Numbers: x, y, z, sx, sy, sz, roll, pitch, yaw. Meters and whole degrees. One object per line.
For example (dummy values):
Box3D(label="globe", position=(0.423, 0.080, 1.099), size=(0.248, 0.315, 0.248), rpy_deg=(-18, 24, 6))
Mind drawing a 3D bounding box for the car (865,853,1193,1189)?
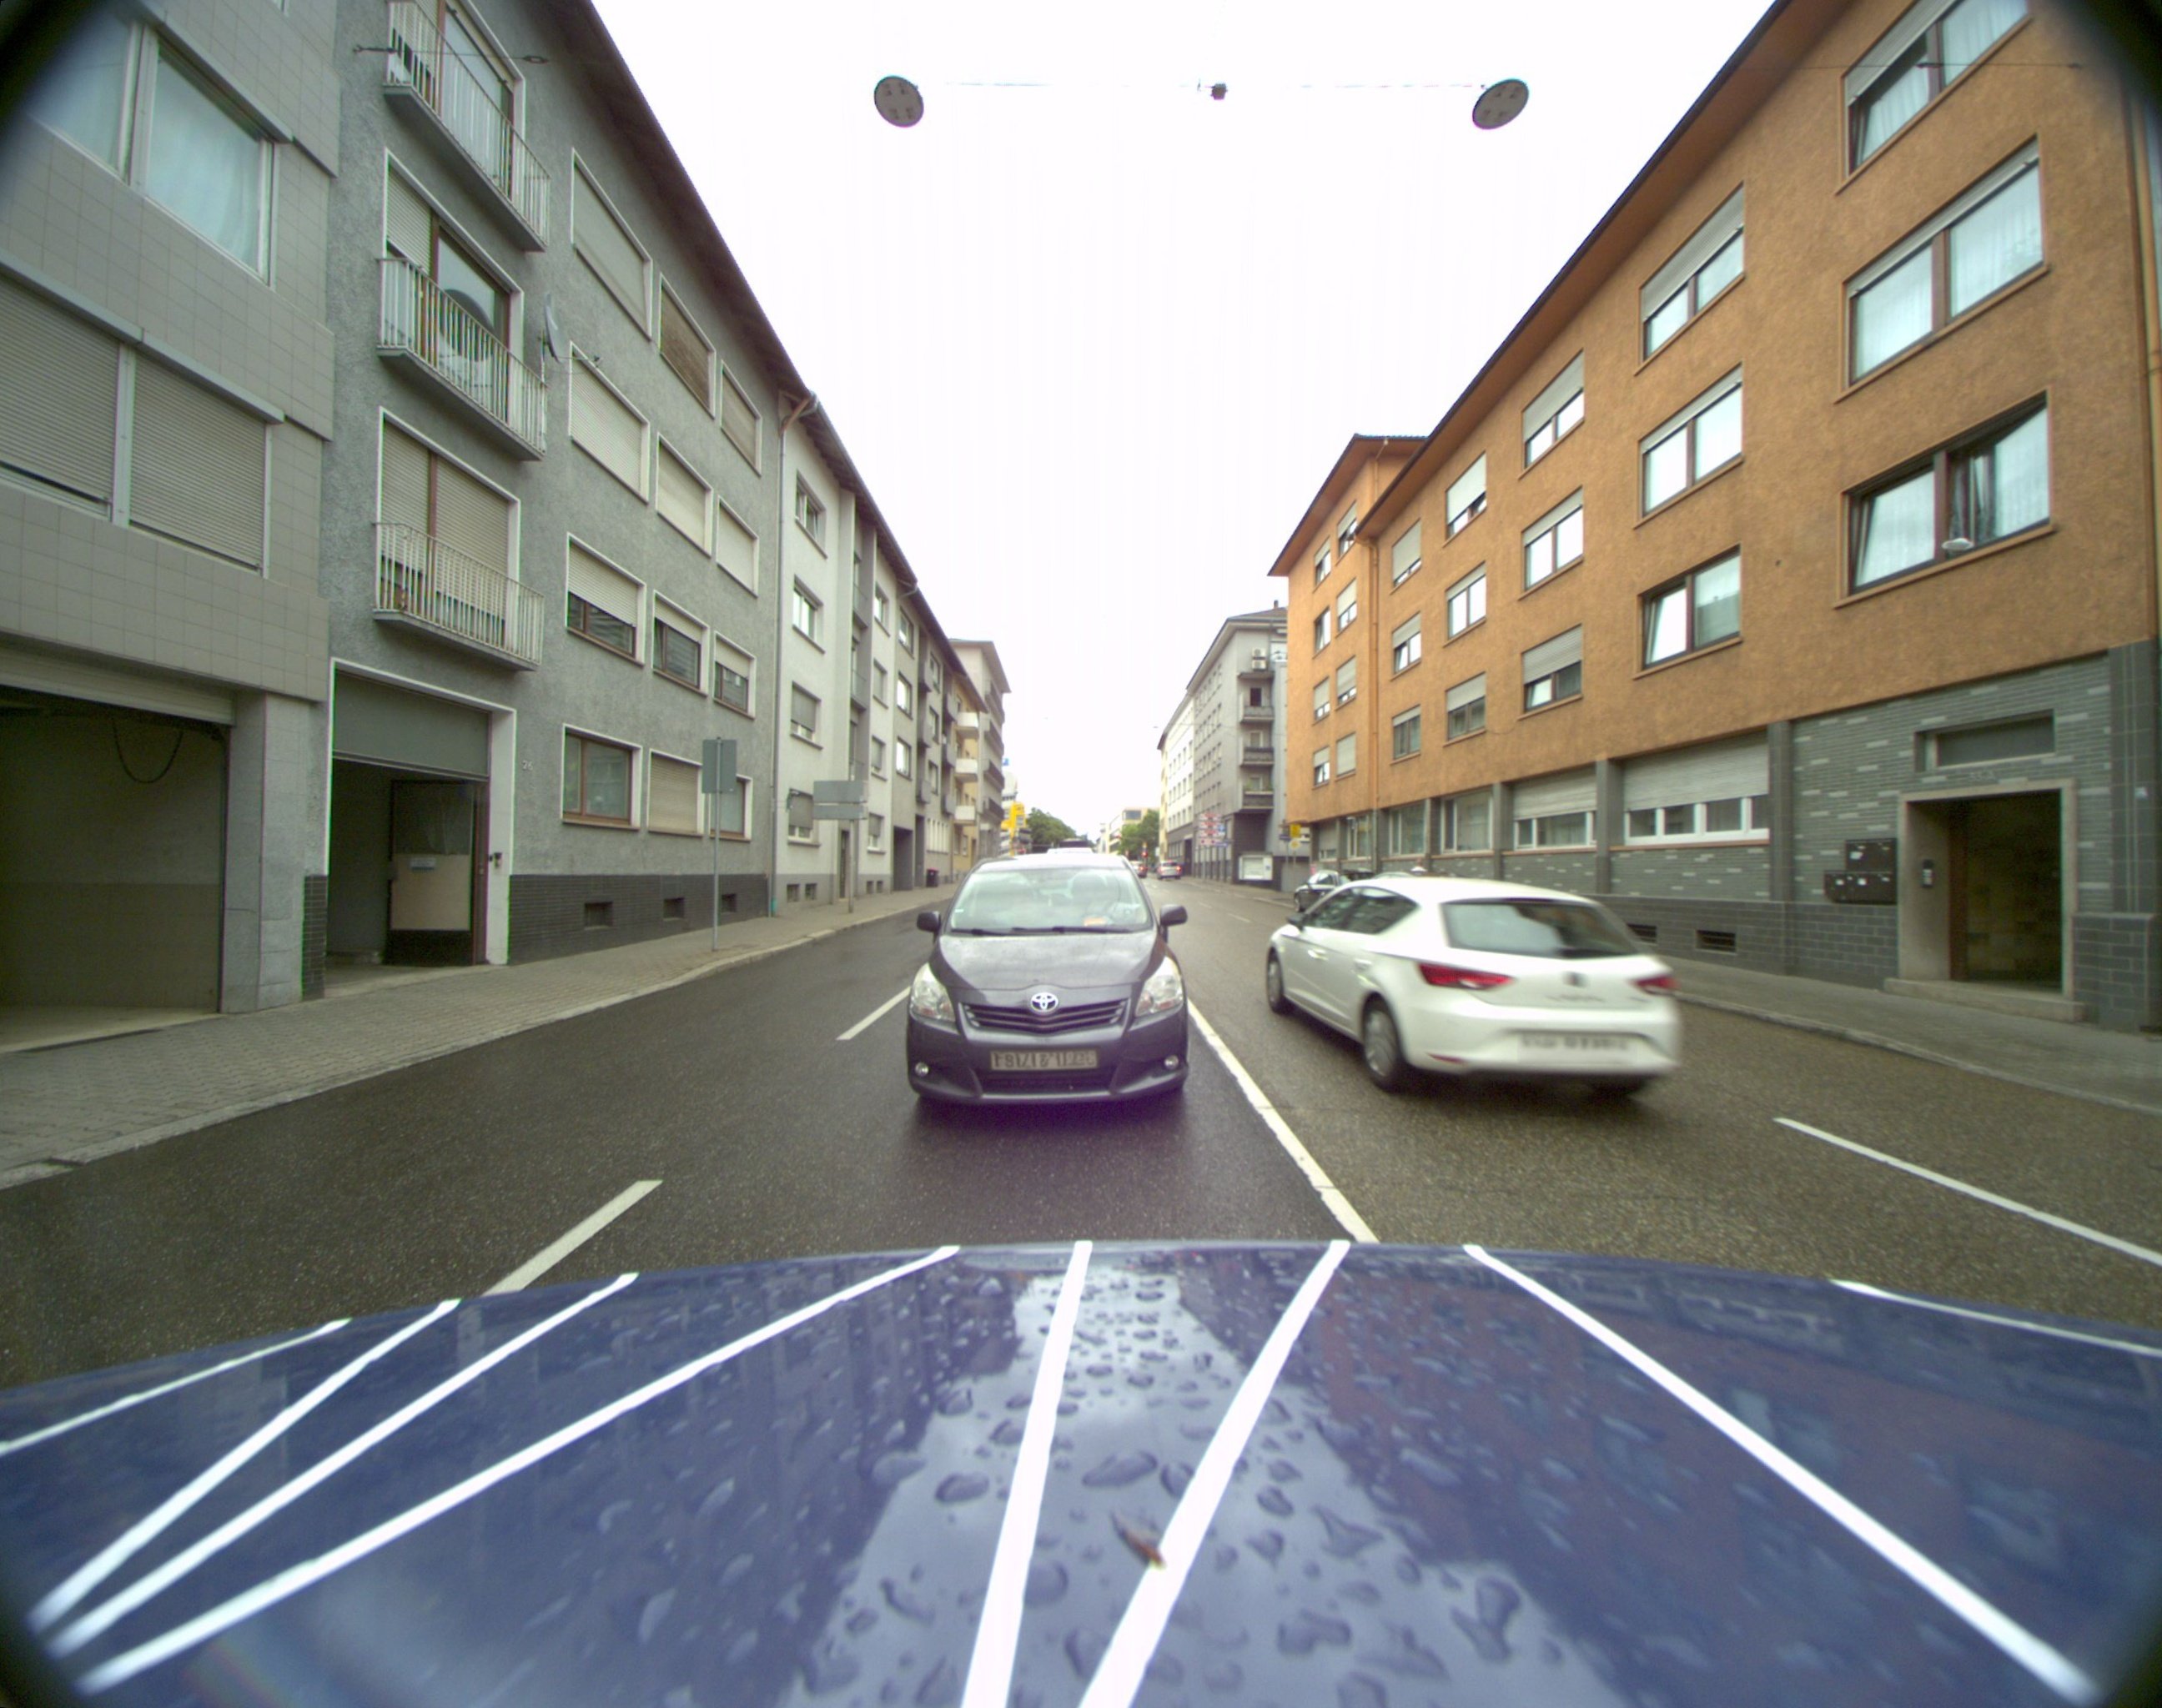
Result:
Box3D(label="car", position=(-0.250, 0.904, 6.201), size=(1.699, 1.712, 4.217), rpy_deg=(-2, 1, 1))

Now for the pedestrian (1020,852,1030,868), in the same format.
Box3D(label="pedestrian", position=(-6.497, 0.687, 88.072), size=(1.119, 1.741, 0.961), rpy_deg=(1, 1, -5))

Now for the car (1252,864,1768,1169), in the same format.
Box3D(label="car", position=(2.816, 0.929, 6.192), size=(1.749, 1.530, 4.051), rpy_deg=(2, 1, -2))

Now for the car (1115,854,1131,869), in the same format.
Box3D(label="car", position=(5.353, 0.922, 97.314), size=(1.856, 1.712, 4.217), rpy_deg=(-2, 1, 1))

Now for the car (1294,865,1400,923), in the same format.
Box3D(label="car", position=(8.045, 1.149, 23.409), size=(1.799, 1.466, 4.217), rpy_deg=(-2, 1, 1))

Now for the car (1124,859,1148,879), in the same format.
Box3D(label="car", position=(5.028, 1.326, 69.812), size=(1.856, 1.651, 4.610), rpy_deg=(-2, 1, 1))

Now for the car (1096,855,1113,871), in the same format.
Box3D(label="car", position=(2.844, 1.070, 92.735), size=(1.856, 1.712, 4.217), rpy_deg=(-2, 1, 1))

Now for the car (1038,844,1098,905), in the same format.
Box3D(label="car", position=(-0.394, 0.639, 26.550), size=(1.856, 1.882, 4.217), rpy_deg=(-2, 1, 1))

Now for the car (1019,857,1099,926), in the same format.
Box3D(label="car", position=(-0.503, 0.895, 20.045), size=(1.856, 1.524, 3.792), rpy_deg=(-2, 1, 1))

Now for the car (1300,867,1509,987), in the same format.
Box3D(label="car", position=(5.456, 1.125, 13.538), size=(1.699, 1.530, 4.435), rpy_deg=(4, 1, 0))

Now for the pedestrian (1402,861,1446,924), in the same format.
Box3D(label="pedestrian", position=(9.326, 1.019, 20.680), size=(0.768, 1.630, 1.023), rpy_deg=(-2, 1, 5))

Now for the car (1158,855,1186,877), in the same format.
Box3D(label="car", position=(7.816, 0.998, 65.701), size=(1.856, 1.712, 4.217), rpy_deg=(-2, 1, 1))

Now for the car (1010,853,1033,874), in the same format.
Box3D(label="car", position=(-5.130, 0.794, 65.835), size=(1.856, 1.663, 4.215), rpy_deg=(-2, 1, -4))

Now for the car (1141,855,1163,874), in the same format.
Box3D(label="car", position=(7.257, 1.069, 77.625), size=(1.856, 1.712, 4.217), rpy_deg=(-2, 1, 1))

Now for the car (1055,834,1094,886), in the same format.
Box3D(label="car", position=(-0.330, 0.300, 43.593), size=(2.033, 2.731, 4.368), rpy_deg=(-2, 1, 1))

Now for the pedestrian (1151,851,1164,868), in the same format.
Box3D(label="pedestrian", position=(9.280, 0.687, 92.041), size=(1.309, 2.002, 1.258), rpy_deg=(-2, 1, 1))
